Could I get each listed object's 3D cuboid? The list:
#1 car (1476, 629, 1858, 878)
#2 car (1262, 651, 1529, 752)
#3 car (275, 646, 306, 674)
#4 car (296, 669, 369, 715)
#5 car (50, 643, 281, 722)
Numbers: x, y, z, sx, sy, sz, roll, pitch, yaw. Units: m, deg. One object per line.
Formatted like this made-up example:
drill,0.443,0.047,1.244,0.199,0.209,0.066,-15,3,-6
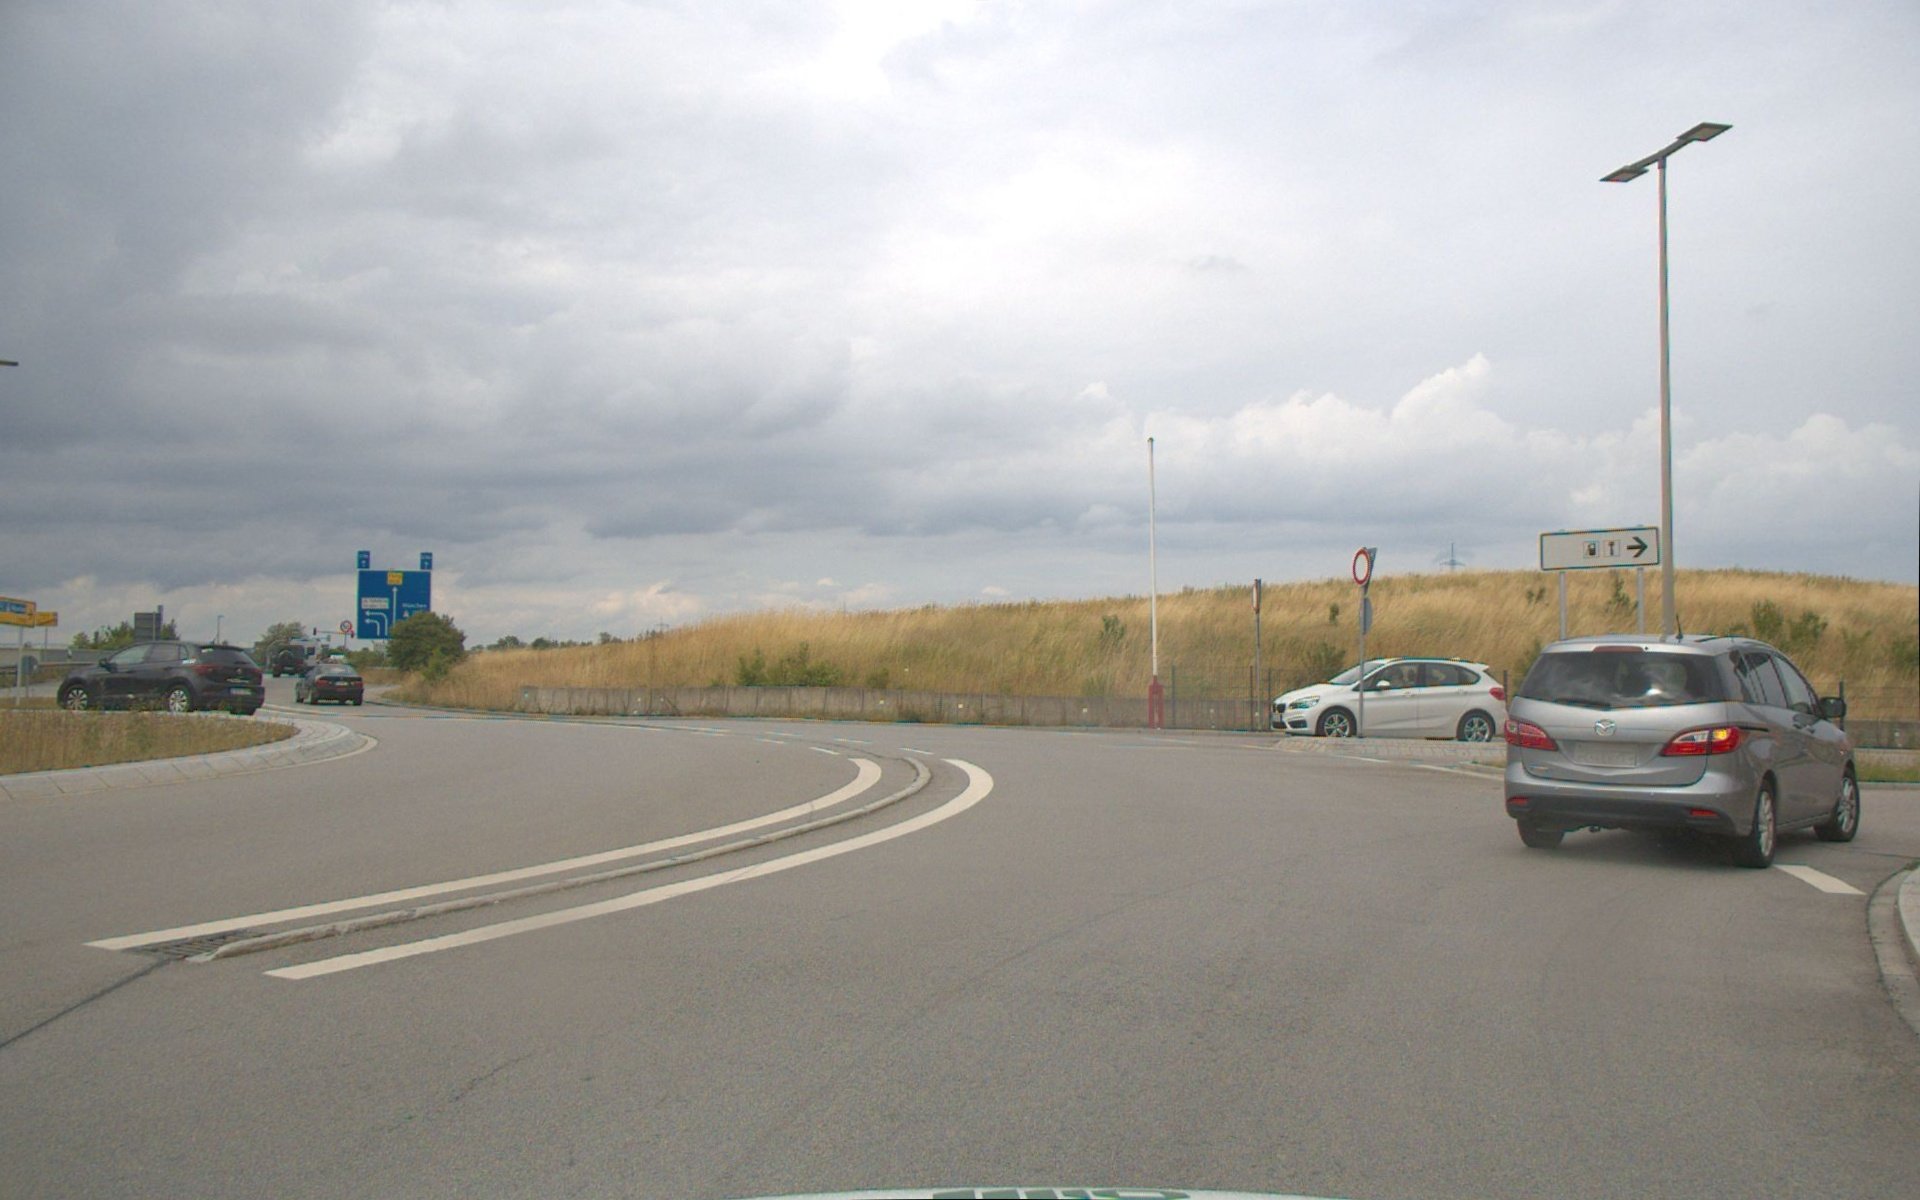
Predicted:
car,5.644,1.082,12.921,1.880,1.602,3.983,0,-3,37
car,7.881,1.830,30.104,4.329,1.657,1.781,2,-1,-7
car,-40.820,3.652,100.839,1.578,1.576,4.013,0,-1,-25
car,-21.131,3.092,55.633,1.504,1.512,3.572,3,-4,-34
car,-15.087,1.531,31.424,3.903,1.402,1.667,-1,-1,19
